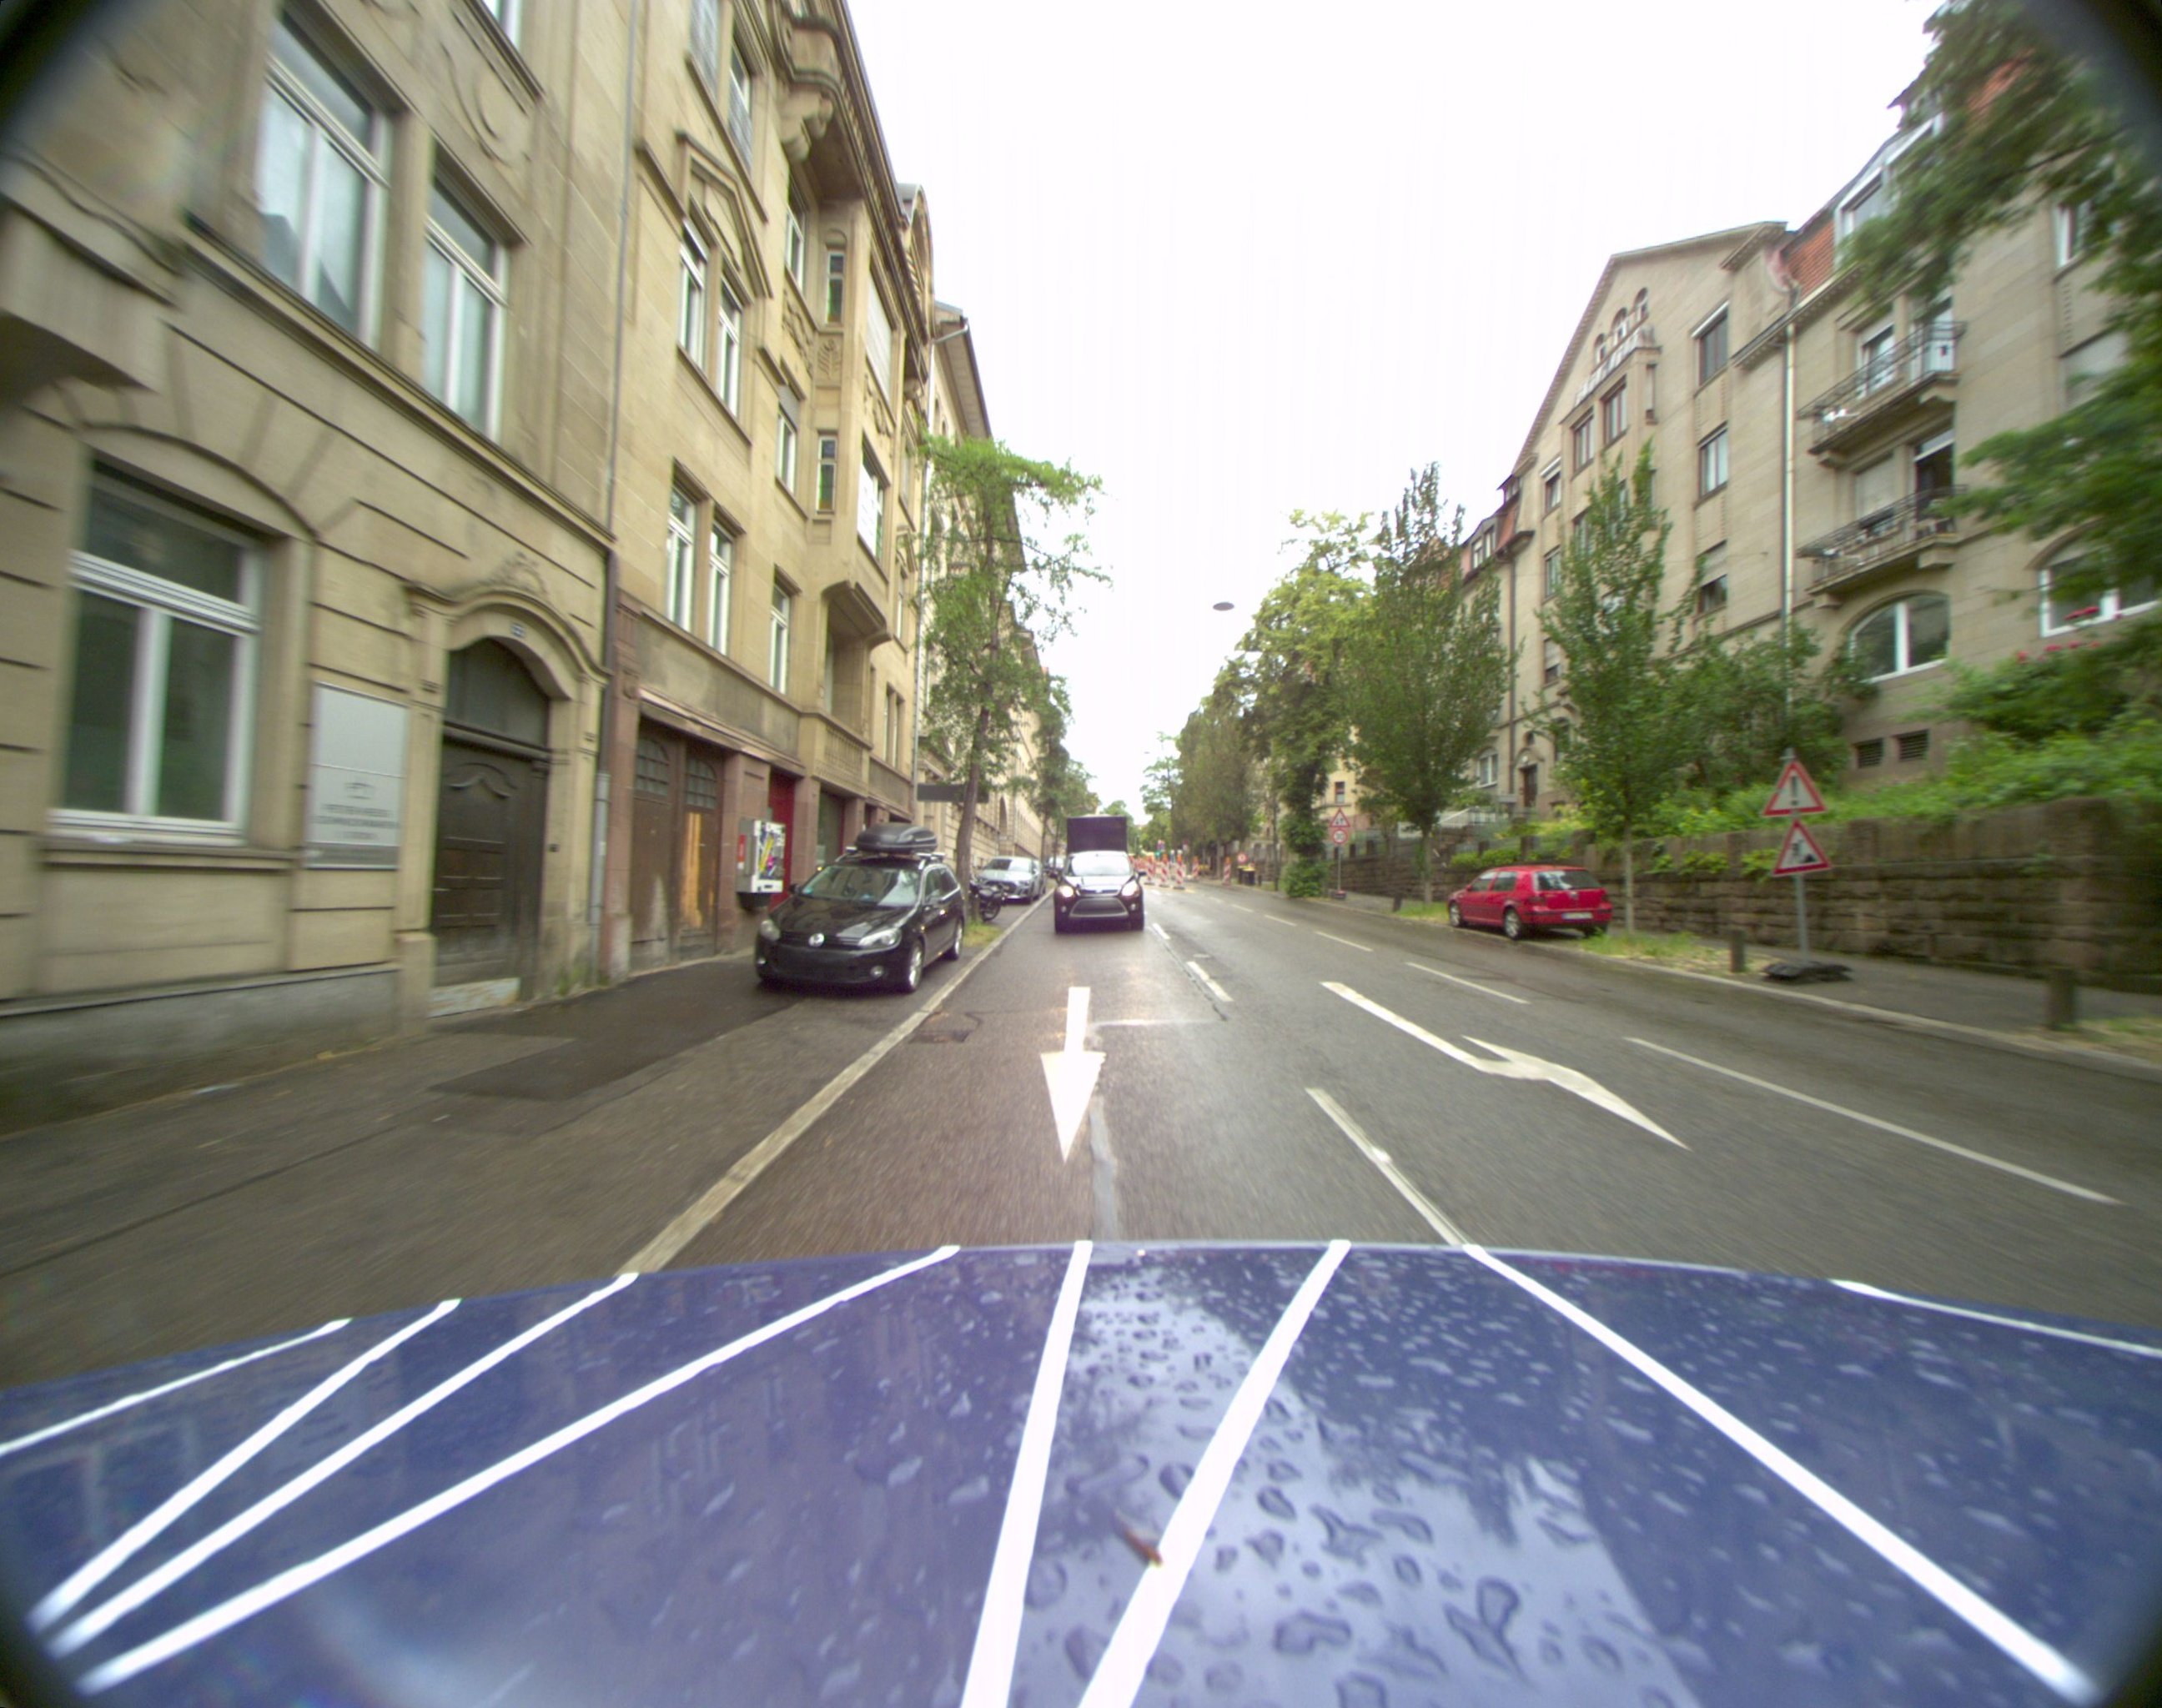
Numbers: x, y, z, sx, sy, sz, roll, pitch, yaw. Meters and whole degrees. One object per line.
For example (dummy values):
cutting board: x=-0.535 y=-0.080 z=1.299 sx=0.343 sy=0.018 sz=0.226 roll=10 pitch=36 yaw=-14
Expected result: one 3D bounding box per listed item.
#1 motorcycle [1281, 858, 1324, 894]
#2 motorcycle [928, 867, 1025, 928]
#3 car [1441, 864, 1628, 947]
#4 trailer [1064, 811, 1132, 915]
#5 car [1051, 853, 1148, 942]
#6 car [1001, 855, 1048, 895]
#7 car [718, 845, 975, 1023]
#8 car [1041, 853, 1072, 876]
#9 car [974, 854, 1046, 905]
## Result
motorcycle: x=9.313 y=0.903 z=32.053 sx=0.802 sy=1.406 sz=3.061 roll=-2 pitch=0 yaw=-2
motorcycle: x=-2.248 y=0.953 z=16.731 sx=0.523 sy=1.236 sz=2.282 roll=3 pitch=-1 yaw=40
car: x=9.279 y=0.966 z=15.979 sx=1.617 sy=1.442 sz=4.064 roll=-1 pitch=0 yaw=2
trailer: x=0.464 y=0.219 z=22.532 sx=1.783 sy=2.744 sz=4.816 roll=-1 pitch=1 yaw=0
car: x=0.421 y=0.827 z=16.582 sx=1.823 sy=1.662 sz=4.522 roll=-1 pitch=0 yaw=2
car: x=-2.199 y=0.795 z=30.067 sx=1.495 sy=1.440 sz=3.181 roll=1 pitch=0 yaw=2
car: x=-2.640 y=0.799 z=9.667 sx=1.764 sy=1.642 sz=4.099 roll=4 pitch=0 yaw=2
car: x=-1.773 y=0.738 z=56.410 sx=1.910 sy=1.503 sz=4.318 roll=3 pitch=0 yaw=2
car: x=-2.244 y=0.782 z=24.920 sx=1.794 sy=1.444 sz=4.039 roll=3 pitch=0 yaw=2
